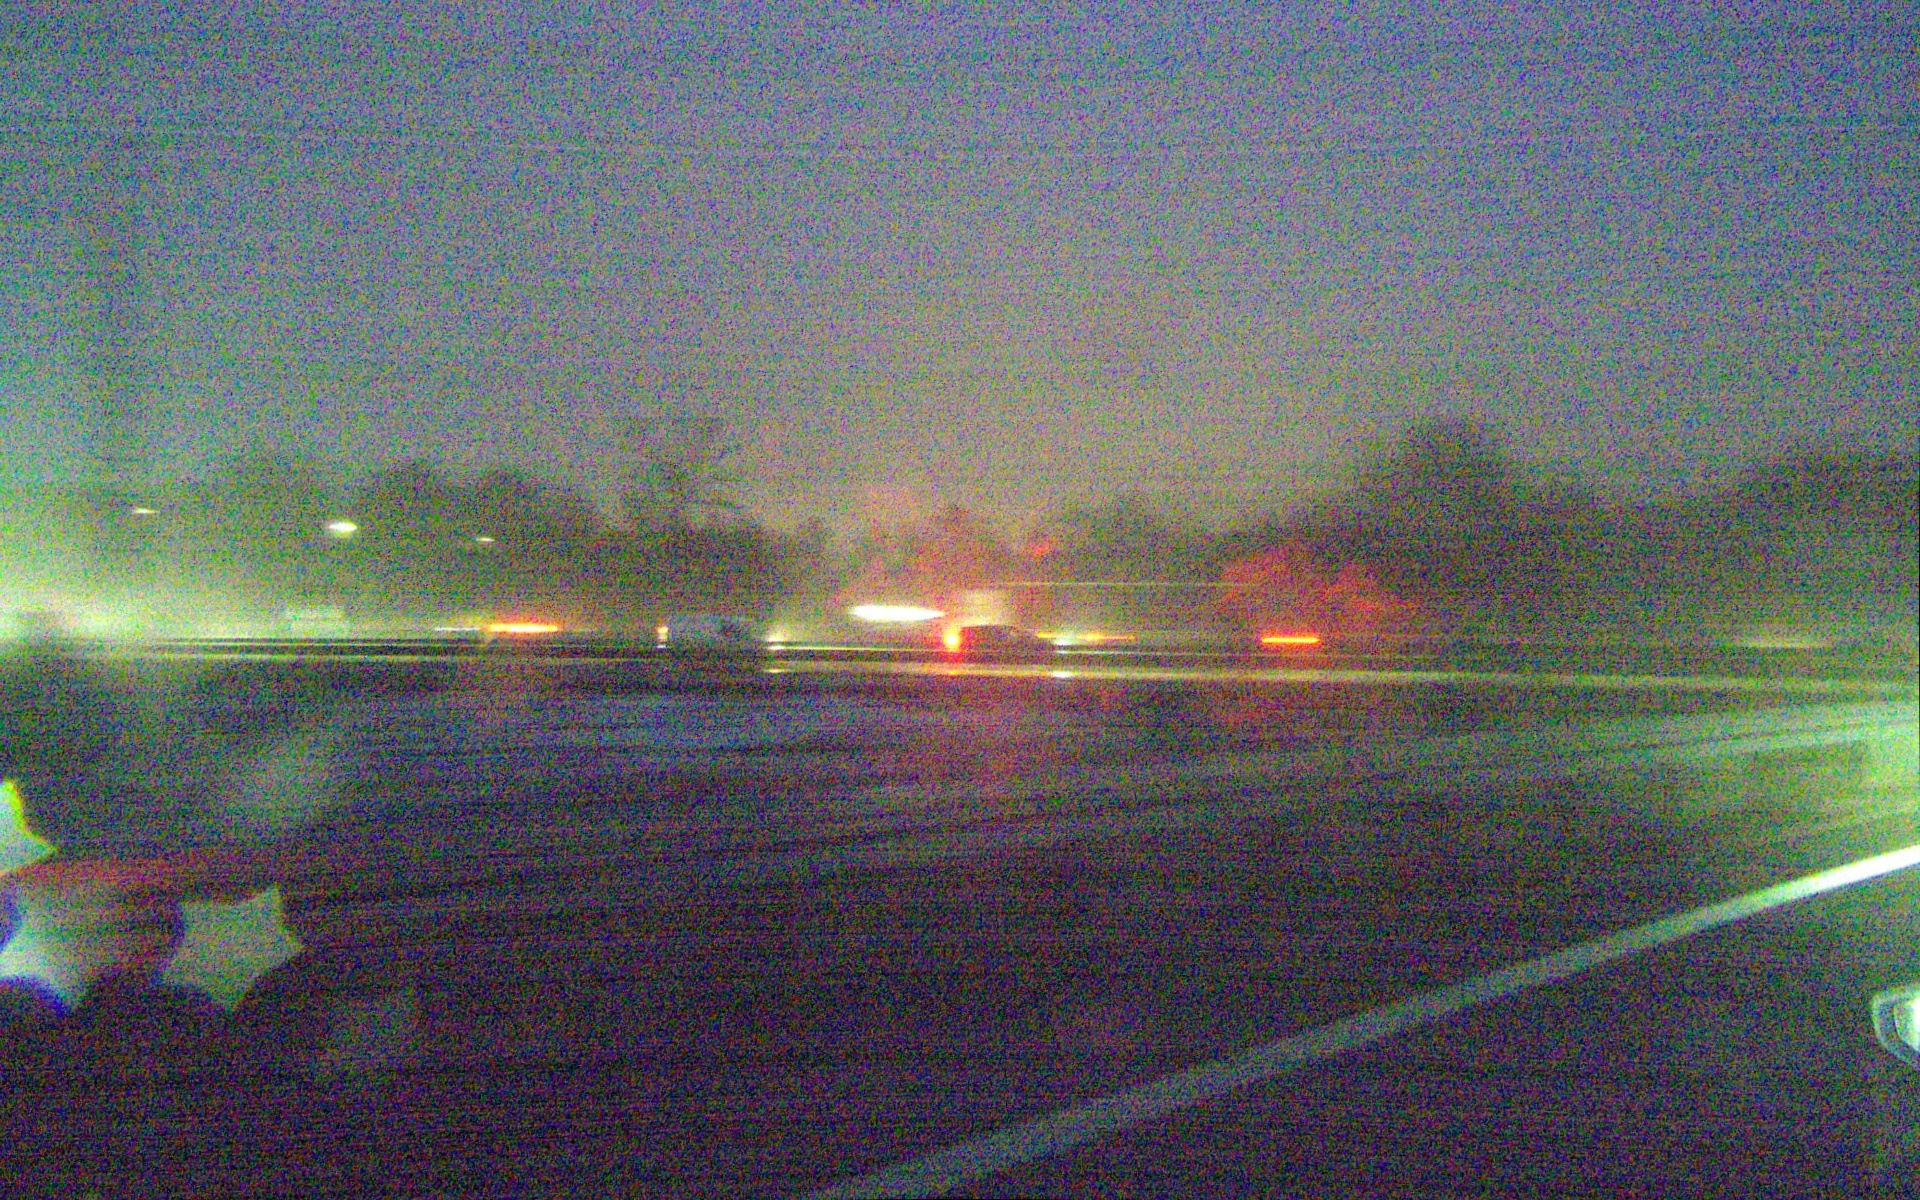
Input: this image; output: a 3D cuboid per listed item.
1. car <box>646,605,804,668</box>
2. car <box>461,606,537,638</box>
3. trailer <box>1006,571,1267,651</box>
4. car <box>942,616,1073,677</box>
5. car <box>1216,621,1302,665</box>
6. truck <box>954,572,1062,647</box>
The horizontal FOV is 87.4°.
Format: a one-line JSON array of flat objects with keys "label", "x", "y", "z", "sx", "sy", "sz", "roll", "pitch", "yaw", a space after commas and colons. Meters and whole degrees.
[{"label": "car", "x": -8.080, "y": 1.221, "z": 34.654, "sx": 4.915, "sy": 2.040, "sz": 2.001, "roll": 0, "pitch": 0, "yaw": 13}, {"label": "car", "x": -28.619, "y": 1.355, "z": 62.373, "sx": 3.919, "sy": 1.929, "sz": 1.921, "roll": 0, "pitch": 0, "yaw": 13}, {"label": "trailer", "x": 9.511, "y": 0.534, "z": 54.858, "sx": 13.731, "sy": 4.083, "sz": 2.780, "roll": 0, "pitch": 0, "yaw": 14}, {"label": "car", "x": 1.745, "y": 1.654, "z": 36.576, "sx": 4.475, "sy": 2.041, "sz": 2.001, "roll": 0, "pitch": 0, "yaw": 13}, {"label": "car", "x": 14.656, "y": 2.093, "z": 49.468, "sx": 3.919, "sy": 2.041, "sz": 2.001, "roll": 0, "pitch": 0, "yaw": 13}, {"label": "truck", "x": 2.761, "y": 0.505, "z": 56.568, "sx": 5.632, "sy": 4.083, "sz": 2.780, "roll": 0, "pitch": 0, "yaw": 14}]
